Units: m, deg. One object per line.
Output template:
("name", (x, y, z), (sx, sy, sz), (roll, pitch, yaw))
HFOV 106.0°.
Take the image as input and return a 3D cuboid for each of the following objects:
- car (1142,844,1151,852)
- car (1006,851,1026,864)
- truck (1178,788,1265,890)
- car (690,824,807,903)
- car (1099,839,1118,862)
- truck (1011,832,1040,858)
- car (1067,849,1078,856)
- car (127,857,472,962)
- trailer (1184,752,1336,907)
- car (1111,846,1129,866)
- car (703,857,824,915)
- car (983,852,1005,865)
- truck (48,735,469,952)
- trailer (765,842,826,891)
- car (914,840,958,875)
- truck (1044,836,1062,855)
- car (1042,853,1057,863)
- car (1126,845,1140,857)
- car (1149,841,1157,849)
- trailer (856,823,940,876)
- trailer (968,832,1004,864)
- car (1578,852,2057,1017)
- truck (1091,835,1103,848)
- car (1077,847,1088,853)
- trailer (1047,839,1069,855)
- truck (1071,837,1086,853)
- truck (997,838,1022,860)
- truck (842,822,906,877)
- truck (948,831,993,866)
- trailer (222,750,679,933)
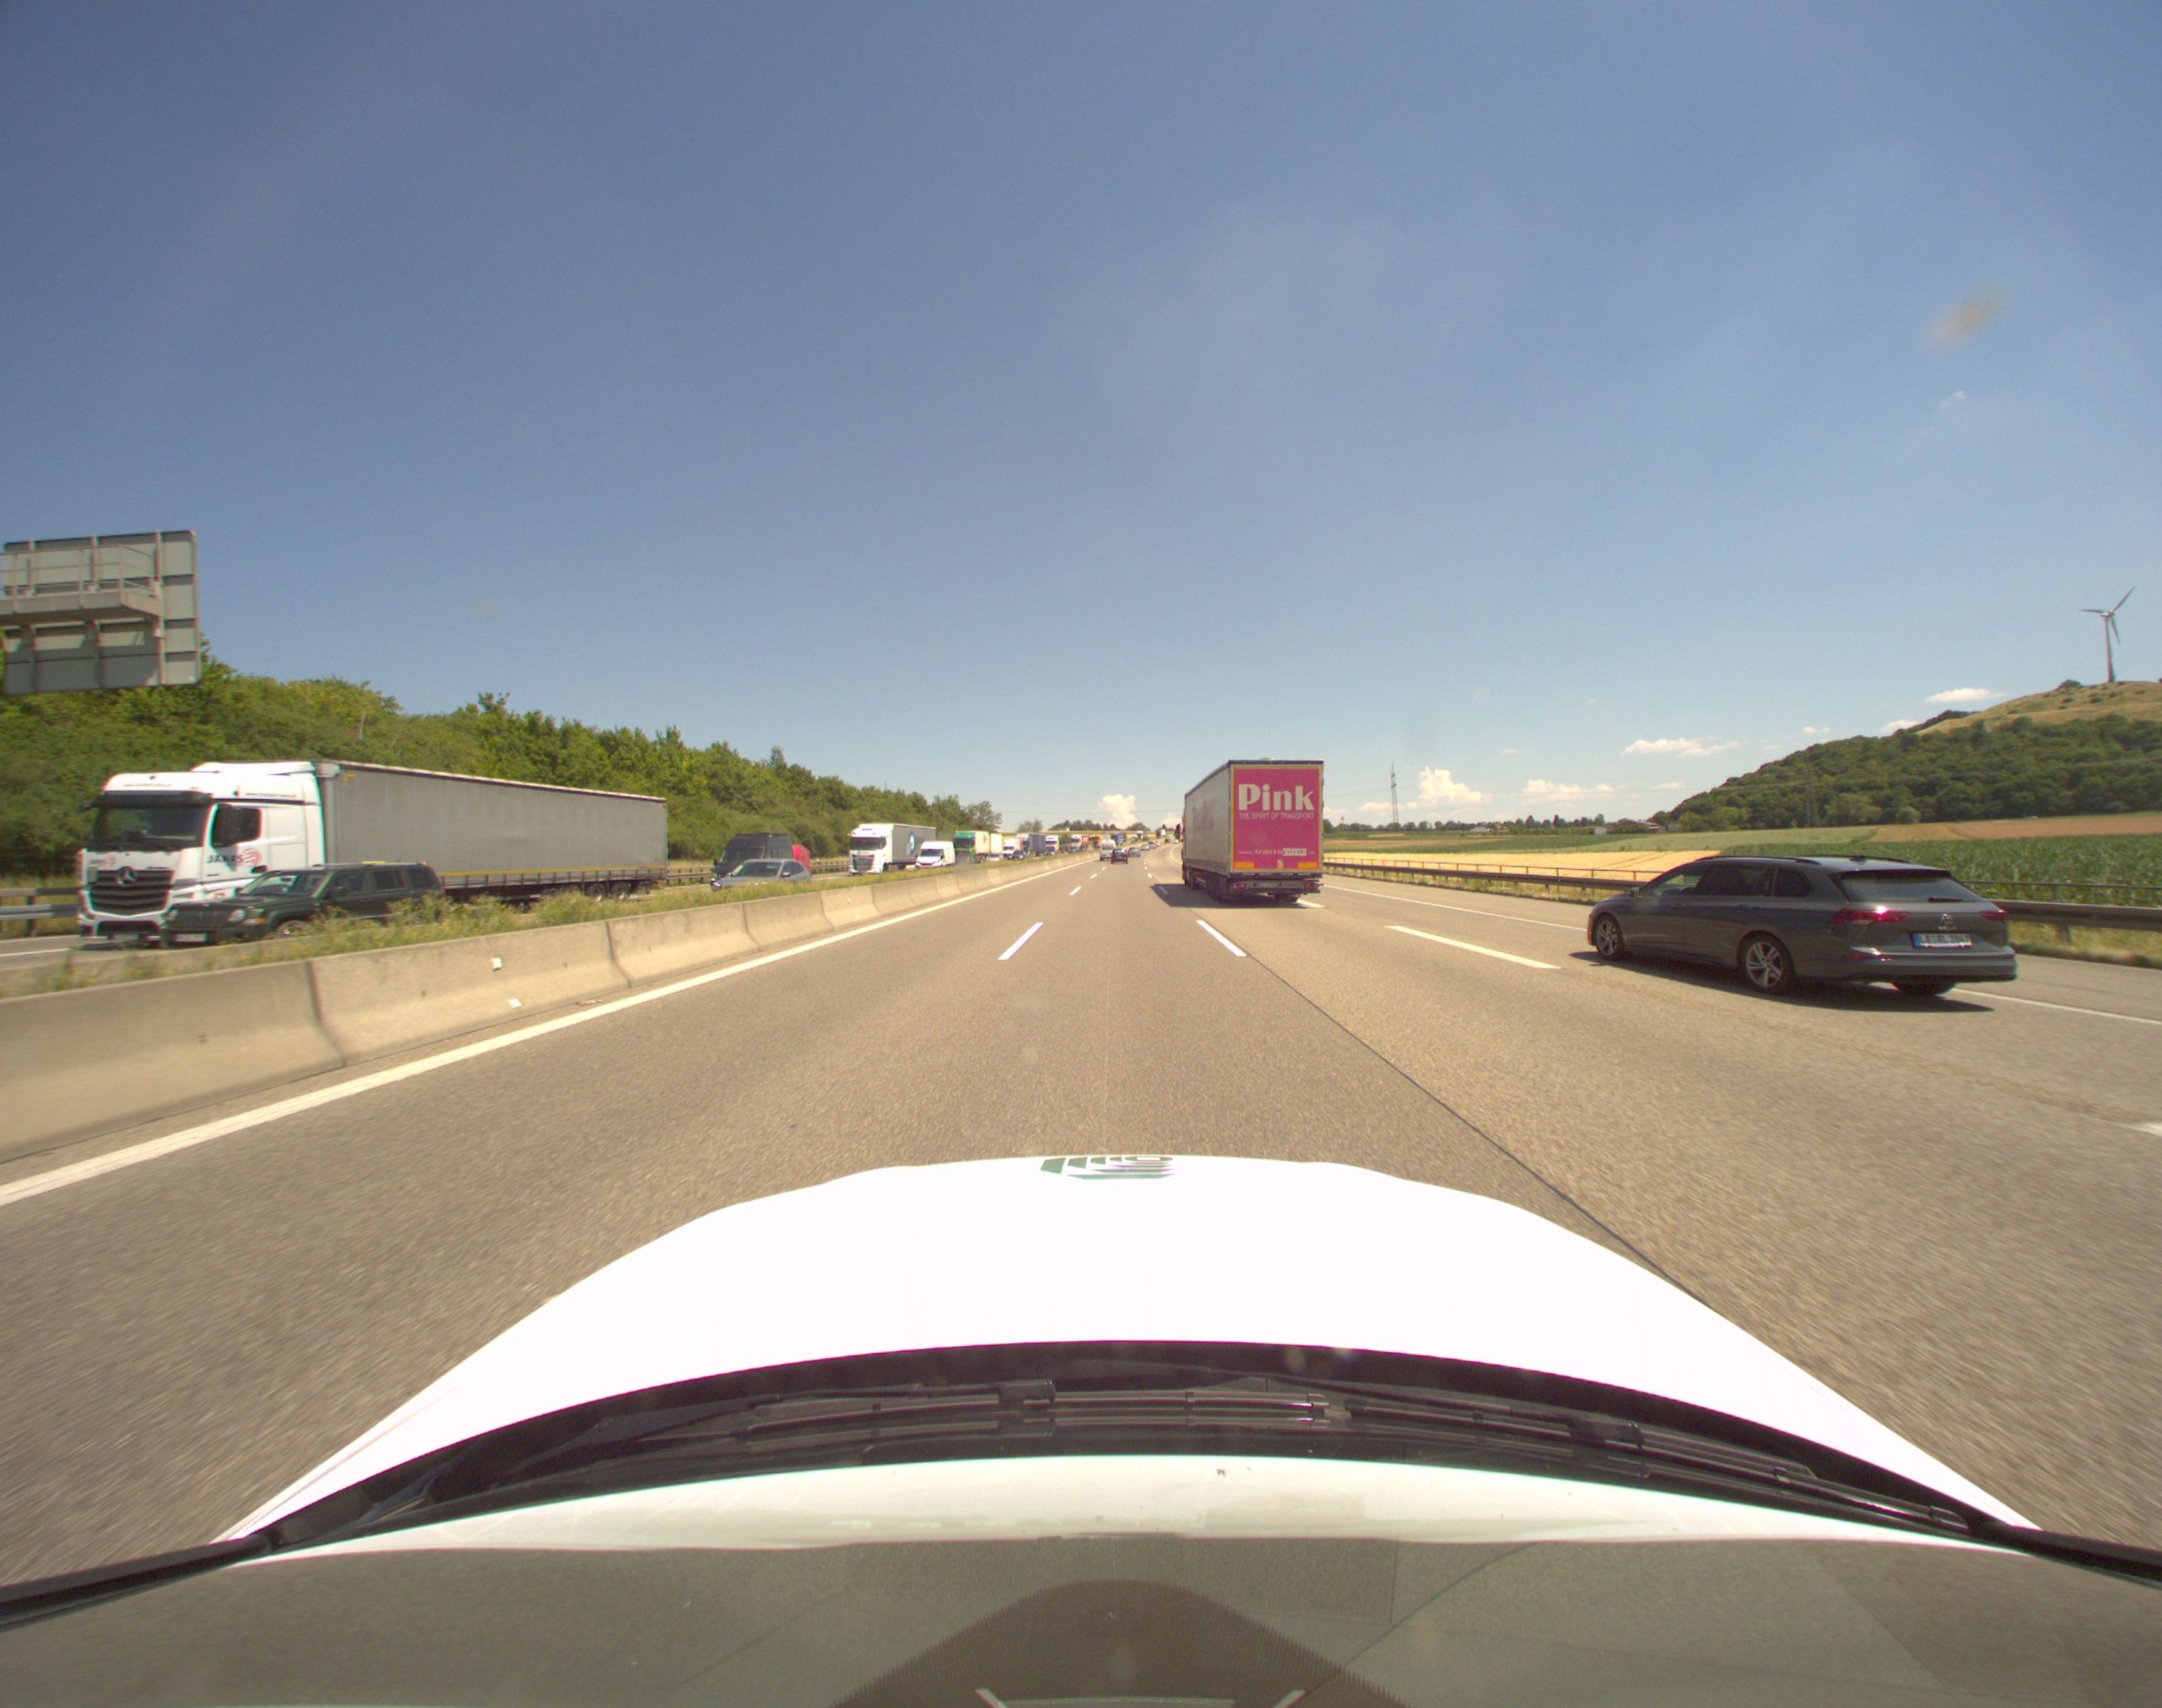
("car", (14.588, -1.365, 182.037), (1.985, 1.585, 4.004), (-2, 0, 4))
("car", (-8.678, 0.454, 108.951), (1.853, 1.641, 5.118), (-1, -1, 4))
("truck", (5.940, -0.598, 35.378), (2.905, 4.008, 6.515), (0, 0, 3))
("car", (-14.136, 0.357, 35.195), (2.229, 3.014, 6.551), (-2, 0, 0))
("car", (3.456, -0.411, 101.037), (2.170, 2.625, 4.677), (-1, -1, 4))
("truck", (-9.332, -1.505, 139.356), (2.986, 4.233, 10.753), (-1, 1, 6))
("car", (-1.791, -0.374, 172.434), (1.984, 1.527, 4.780), (-1, 1, 5))
("car", (-14.777, 0.930, 15.921), (1.986, 1.715, 4.794), (-1, 0, 2))
("trailer", (5.635, -0.698, 28.645), (2.907, 4.117, 13.868), (0, 0, 3))
("car", (4.131, 0.218, 86.231), (1.840, 1.860, 4.208), (-1, 2, 2))
("car", (-10.365, 0.971, 27.035), (1.924, 1.688, 4.799), (-2, 0, 2))
("car", (-9.874, 0.529, 93.168), (1.744, 1.460, 4.862), (0, -1, 3))
("truck", (-18.519, -0.182, 19.171), (2.949, 4.210, 6.610), (0, 0, 4))
("trailer", (-14.086, 0.581, 40.369), (1.564, 2.253, 3.962), (-2, 0, 0))
("car", (-11.855, 0.330, 67.073), (2.130, 2.786, 6.629), (0, -1, 3))
("truck", (-5.796, -1.787, 170.074), (2.886, 3.876, 6.190), (-1, 1, 6))
("car", (-5.383, 0.682, 140.926), (1.984, 1.545, 5.501), (-1, 0, 4))
("car", (7.951, -0.431, 123.974), (1.986, 1.750, 4.002), (0, -1, 2))
("car", (18.092, -2.188, 204.703), (1.985, 1.904, 4.003), (-1, -1, 3))
("trailer", (-15.587, -0.433, 70.984), (2.889, 4.086, 14.463), (-1, 0, 5))
("trailer", (-12.668, -0.842, 109.178), (2.906, 4.071, 8.243), (-2, 1, 6))
("car", (8.058, 0.723, 9.656), (1.754, 1.471, 4.540), (-1, 0, 3))
("truck", (5.109, -3.975, 253.486), (2.734, 3.836, 7.118), (-1, 1, 9))
("car", (0.440, -0.969, 188.877), (1.984, 1.455, 5.179), (-1, 1, 5))
("trailer", (-4.972, -1.601, 176.864), (2.843, 3.205, 12.808), (-1, 1, 7))
("truck", (-0.578, -2.259, 209.916), (3.019, 4.081, 6.329), (-1, 1, 8))
("truck", (-10.973, -0.852, 125.497), (2.526, 3.207, 7.599), (-1, 1, 5))
("truck", (-16.113, -0.384, 63.907), (2.841, 4.036, 6.611), (-1, 0, 4))
("truck", (-13.470, -0.707, 100.332), (2.829, 3.898, 11.263), (-2, 1, 5))
("trailer", (-18.151, -0.256, 25.984), (2.970, 4.206, 14.202), (0, 0, 3))
